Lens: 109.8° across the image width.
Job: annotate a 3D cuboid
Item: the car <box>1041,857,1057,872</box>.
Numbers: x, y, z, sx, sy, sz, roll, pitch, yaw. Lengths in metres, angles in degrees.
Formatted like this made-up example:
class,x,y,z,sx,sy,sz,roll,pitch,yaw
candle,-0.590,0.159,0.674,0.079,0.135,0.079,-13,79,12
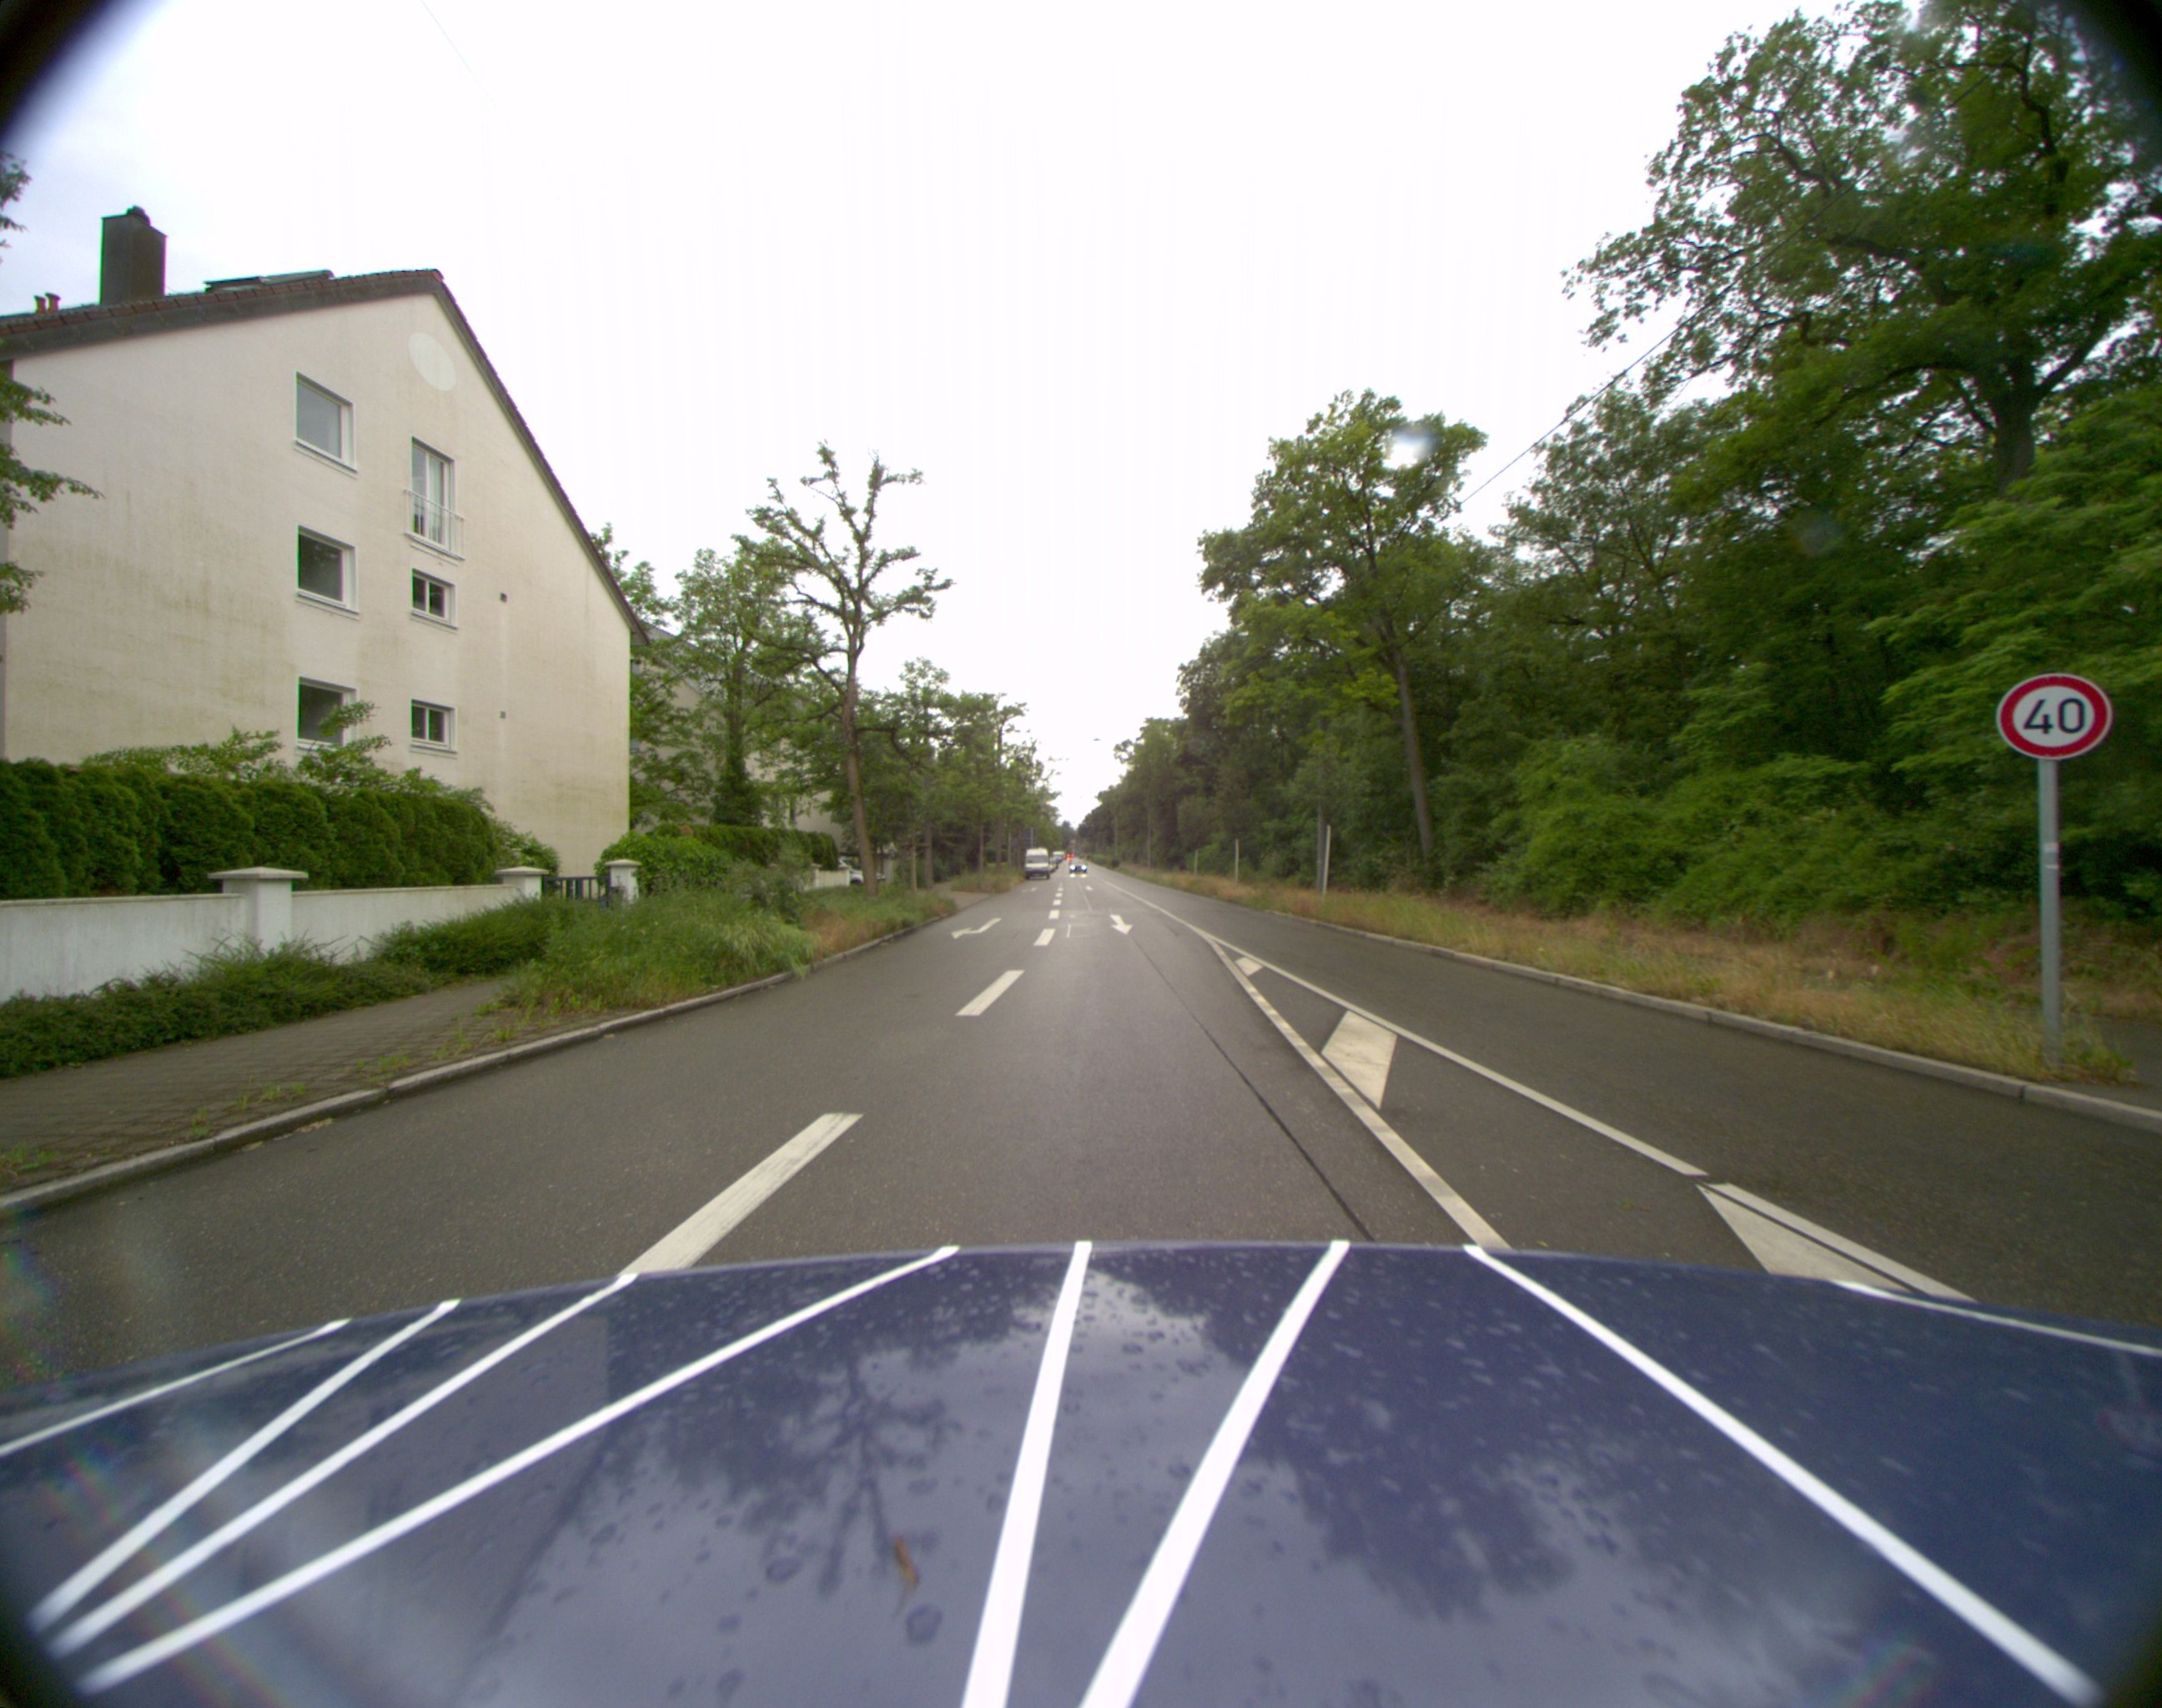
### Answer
class,x,y,z,sx,sy,sz,roll,pitch,yaw
car,-3.415,1.137,81.543,1.576,1.463,3.764,-2,0,-1

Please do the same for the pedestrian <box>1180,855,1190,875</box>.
class,x,y,z,sx,sy,sz,roll,pitch,yaw
pedestrian,8.663,0.911,63.321,0.783,1.598,0.732,0,1,-2

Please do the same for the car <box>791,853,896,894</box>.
class,x,y,z,sx,sy,sz,roll,pitch,yaw
car,-11.160,0.910,35.868,4.312,1.807,1.876,-1,0,10

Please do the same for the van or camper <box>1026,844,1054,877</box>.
class,x,y,z,sx,sy,sz,roll,pitch,yaw
van or camper,-3.392,0.512,63.496,2.042,2.465,5.637,-3,0,-1

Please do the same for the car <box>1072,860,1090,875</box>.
class,x,y,z,sx,sy,sz,roll,pitch,yaw
car,-0.029,1.424,80.863,1.622,1.459,4.409,-2,0,-2

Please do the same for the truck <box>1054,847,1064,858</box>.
class,x,y,z,sx,sy,sz,roll,pitch,yaw
truck,-4.930,-0.298,172.336,2.230,2.321,5.112,1,0,-2
